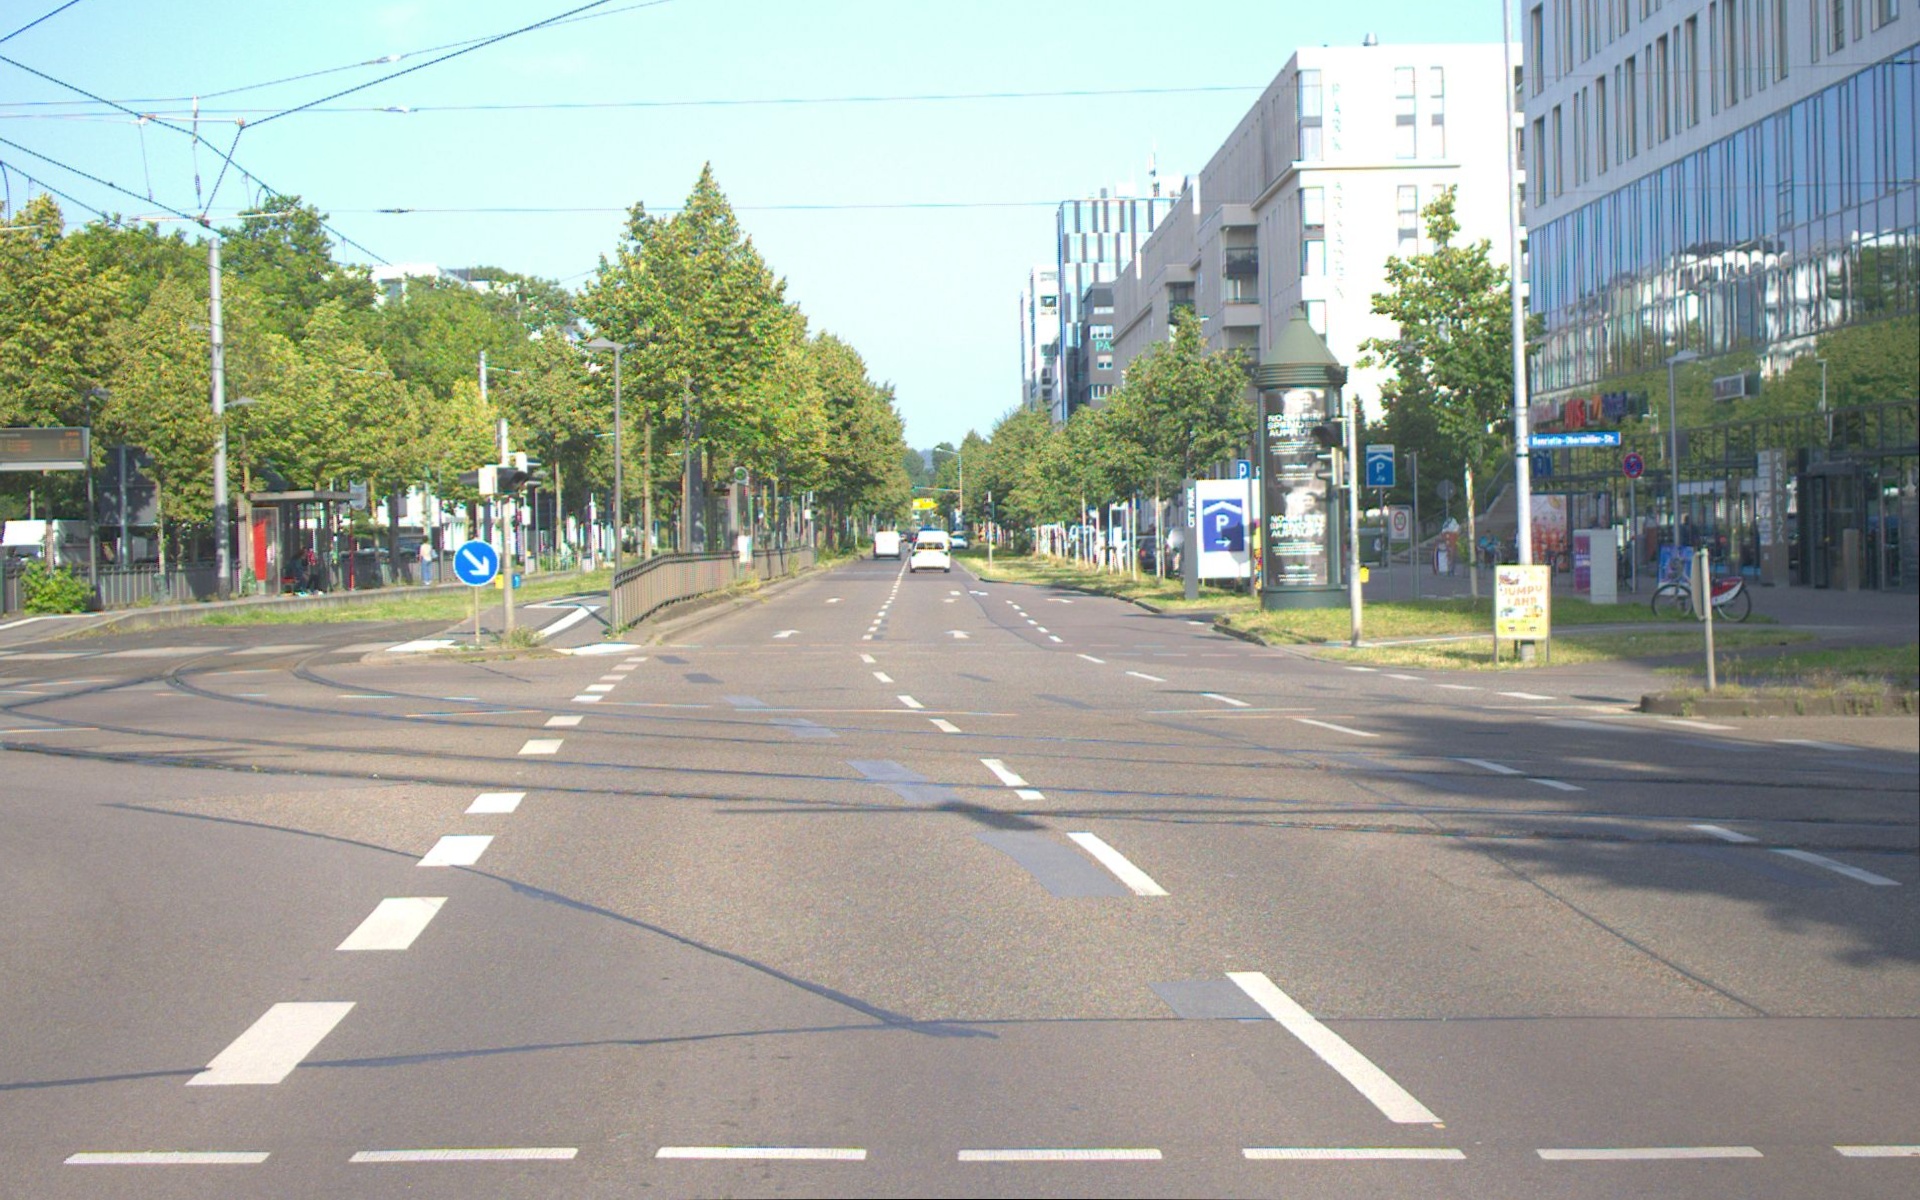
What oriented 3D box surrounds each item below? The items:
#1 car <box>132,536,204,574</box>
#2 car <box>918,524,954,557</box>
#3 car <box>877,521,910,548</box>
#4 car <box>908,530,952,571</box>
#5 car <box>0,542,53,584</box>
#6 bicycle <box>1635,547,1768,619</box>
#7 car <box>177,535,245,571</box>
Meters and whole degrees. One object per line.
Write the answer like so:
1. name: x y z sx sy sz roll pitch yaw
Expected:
1. car: -34.417 -1.969 149.510 1.881 1.554 3.999 -1 1 5
2. car: -1.245 -3.174 182.059 1.864 1.678 4.000 1 2 0
3. car: -4.255 -4.225 220.075 2.014 1.678 4.000 1 2 0
4. car: -1.275 -2.161 148.548 1.864 1.678 4.000 1 2 0
5. car: -35.693 -1.389 129.092 1.881 1.554 3.999 -1 1 5
6. bicycle: 11.414 -0.271 52.972 0.771 1.028 1.878 -2 4 -44
7. car: -33.944 -2.141 155.932 1.881 1.554 3.999 -1 1 5
